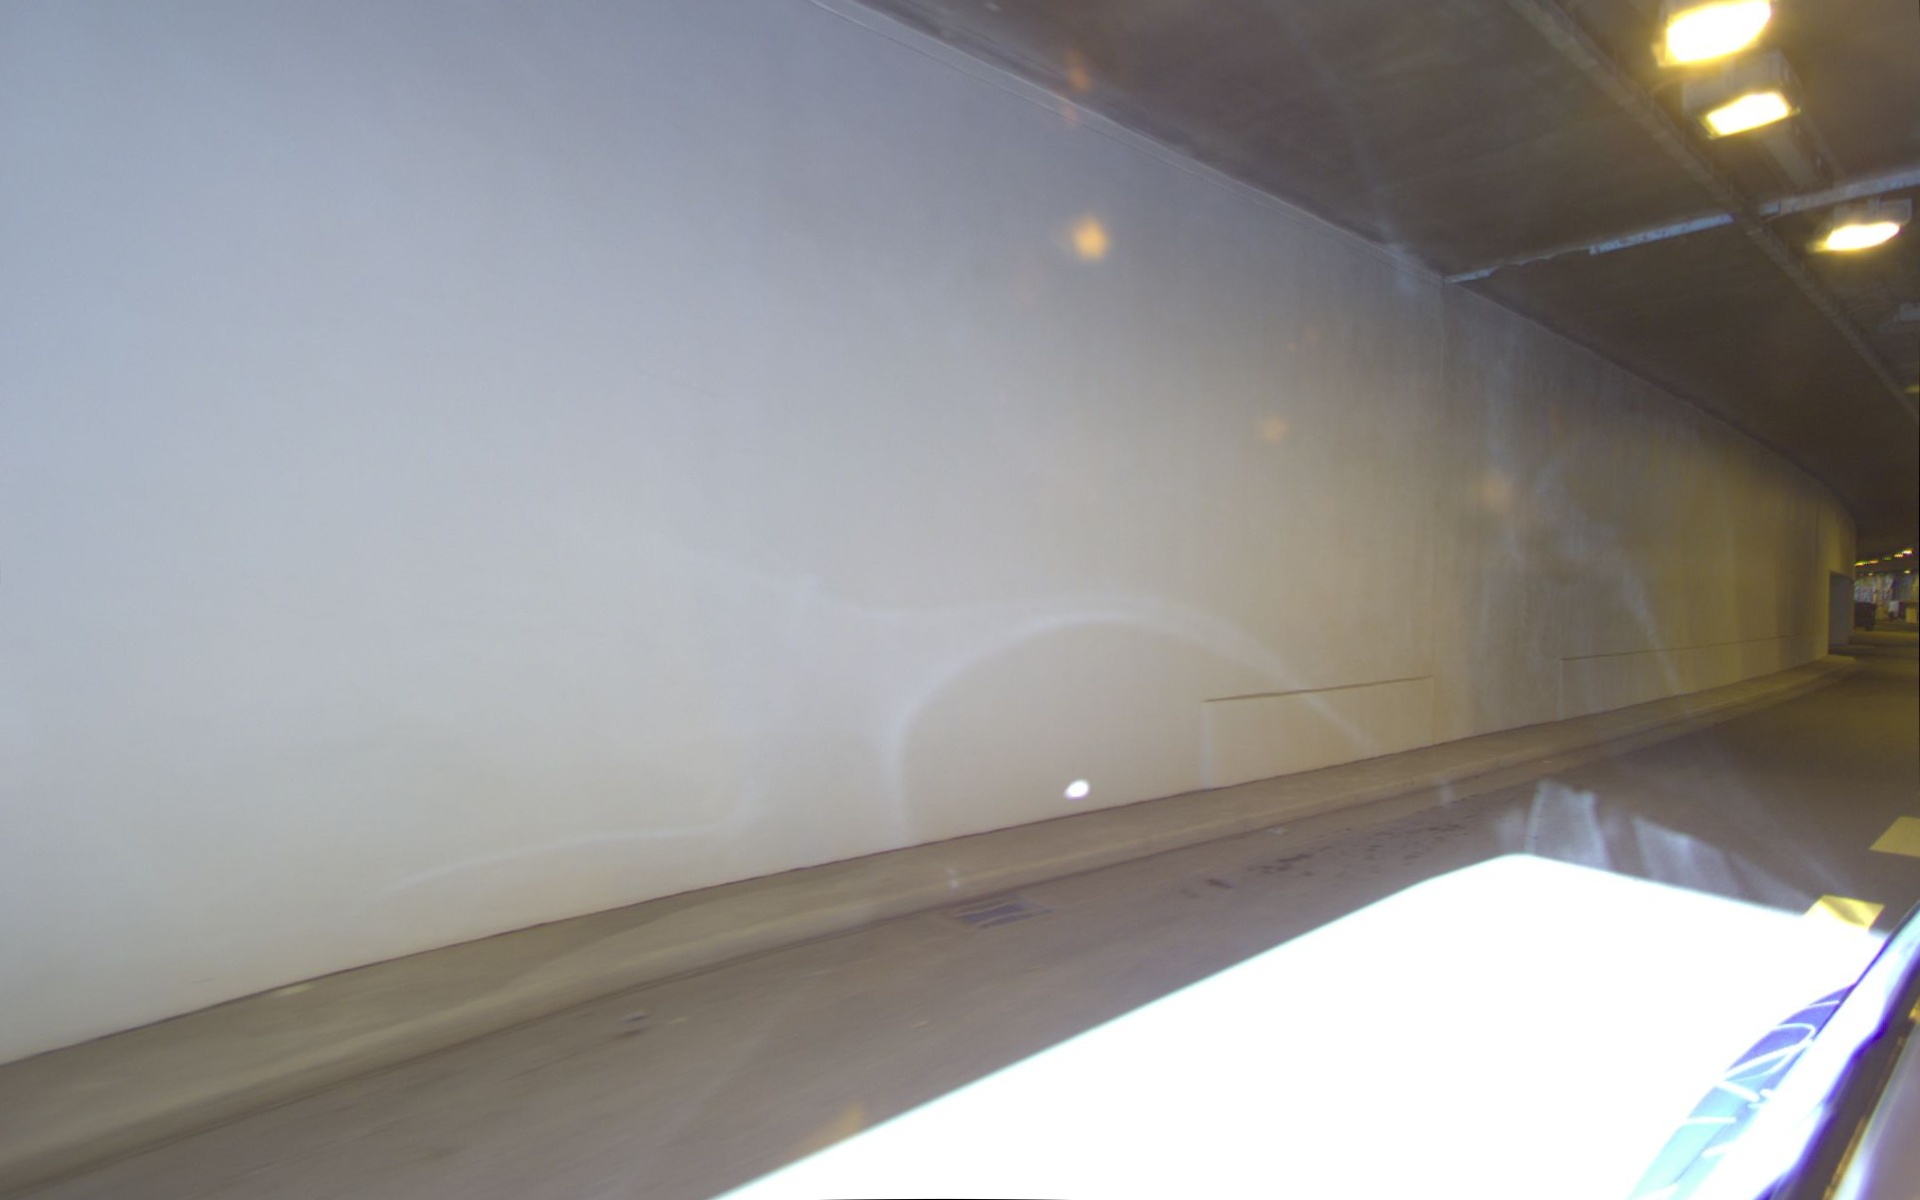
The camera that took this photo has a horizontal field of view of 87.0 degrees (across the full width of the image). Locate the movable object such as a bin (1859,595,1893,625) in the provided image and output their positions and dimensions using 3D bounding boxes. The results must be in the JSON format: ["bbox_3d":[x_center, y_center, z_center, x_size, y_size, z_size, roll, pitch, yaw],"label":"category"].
[{"bbox_3d":[45.188,0.480,49.961,1.143,1.463,1.345,1,1,39],"label":"movable object such as a bin"}]

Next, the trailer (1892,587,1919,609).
[{"bbox_3d":[78.498,-0.182,83.489,1.631,1.813,3.090,1,1,30],"label":"trailer"}]

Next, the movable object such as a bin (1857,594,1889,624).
[{"bbox_3d":[46.028,0.459,51.047,1.096,1.463,1.303,1,1,39],"label":"movable object such as a bin"}]
